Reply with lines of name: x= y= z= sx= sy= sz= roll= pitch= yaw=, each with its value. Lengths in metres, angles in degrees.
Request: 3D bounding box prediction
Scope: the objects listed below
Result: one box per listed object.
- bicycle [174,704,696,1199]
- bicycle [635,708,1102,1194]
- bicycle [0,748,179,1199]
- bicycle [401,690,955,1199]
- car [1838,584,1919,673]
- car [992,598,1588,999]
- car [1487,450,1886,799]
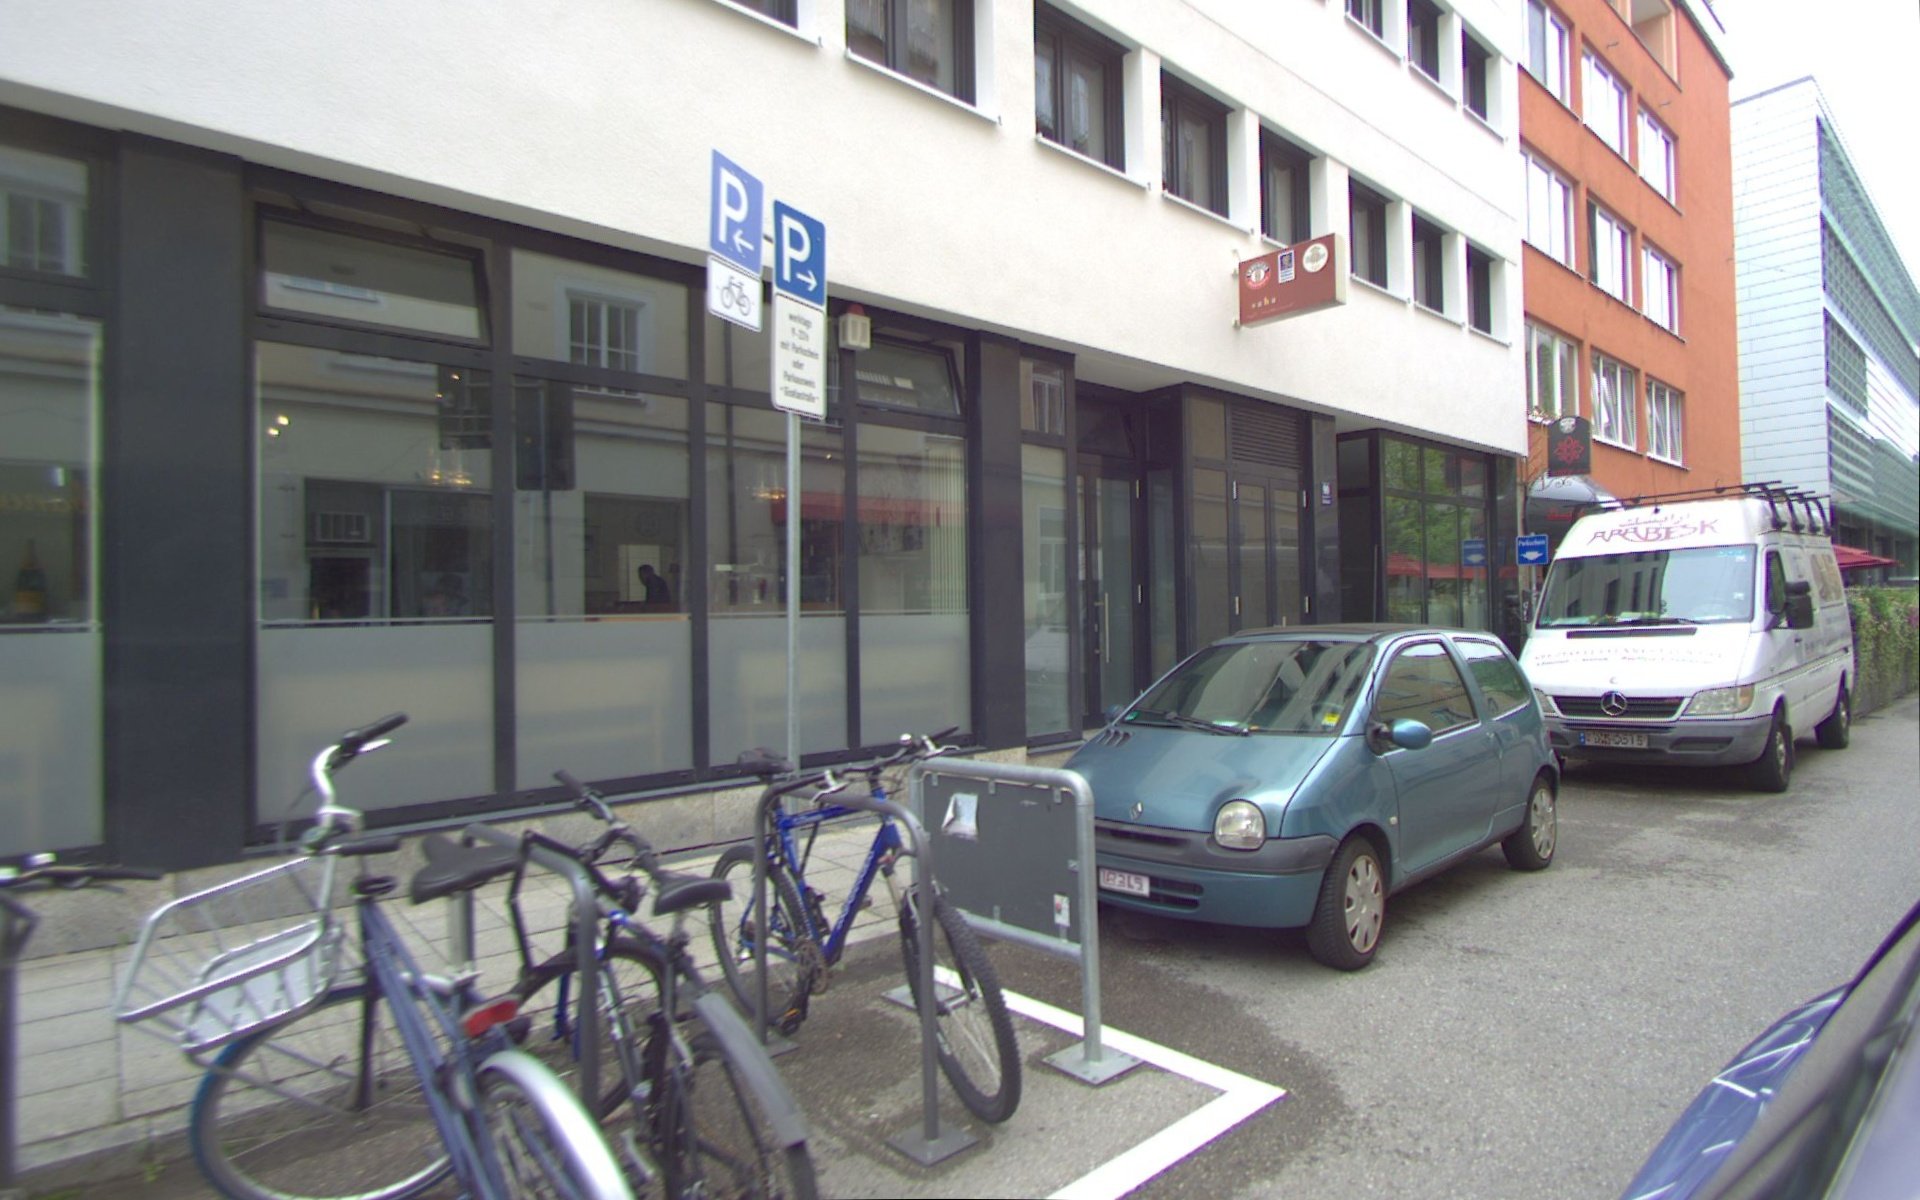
bicycle: x=-1.219 y=0.890 z=2.097 sx=0.480 sy=1.220 sz=1.875 roll=2 pitch=-3 yaw=-42
bicycle: x=-0.430 y=0.939 z=3.322 sx=0.480 sy=1.094 sz=1.875 roll=2 pitch=-5 yaw=-42
bicycle: x=-1.865 y=0.937 z=1.824 sx=0.555 sy=1.172 sz=1.875 roll=2 pitch=-4 yaw=-42
bicycle: x=-0.819 y=0.808 z=2.420 sx=0.480 sy=1.123 sz=1.875 roll=2 pitch=-4 yaw=-42
car: x=20.182 y=0.558 z=21.323 sx=4.311 sy=1.732 sz=1.827 roll=0 pitch=-2 yaw=-40
car: x=1.978 y=0.748 z=5.541 sx=3.491 sy=1.483 sz=1.582 roll=0 pitch=-1 yaw=-43
car: x=7.466 y=0.206 z=10.068 sx=5.894 sy=2.539 sz=1.922 roll=0 pitch=-3 yaw=-42
